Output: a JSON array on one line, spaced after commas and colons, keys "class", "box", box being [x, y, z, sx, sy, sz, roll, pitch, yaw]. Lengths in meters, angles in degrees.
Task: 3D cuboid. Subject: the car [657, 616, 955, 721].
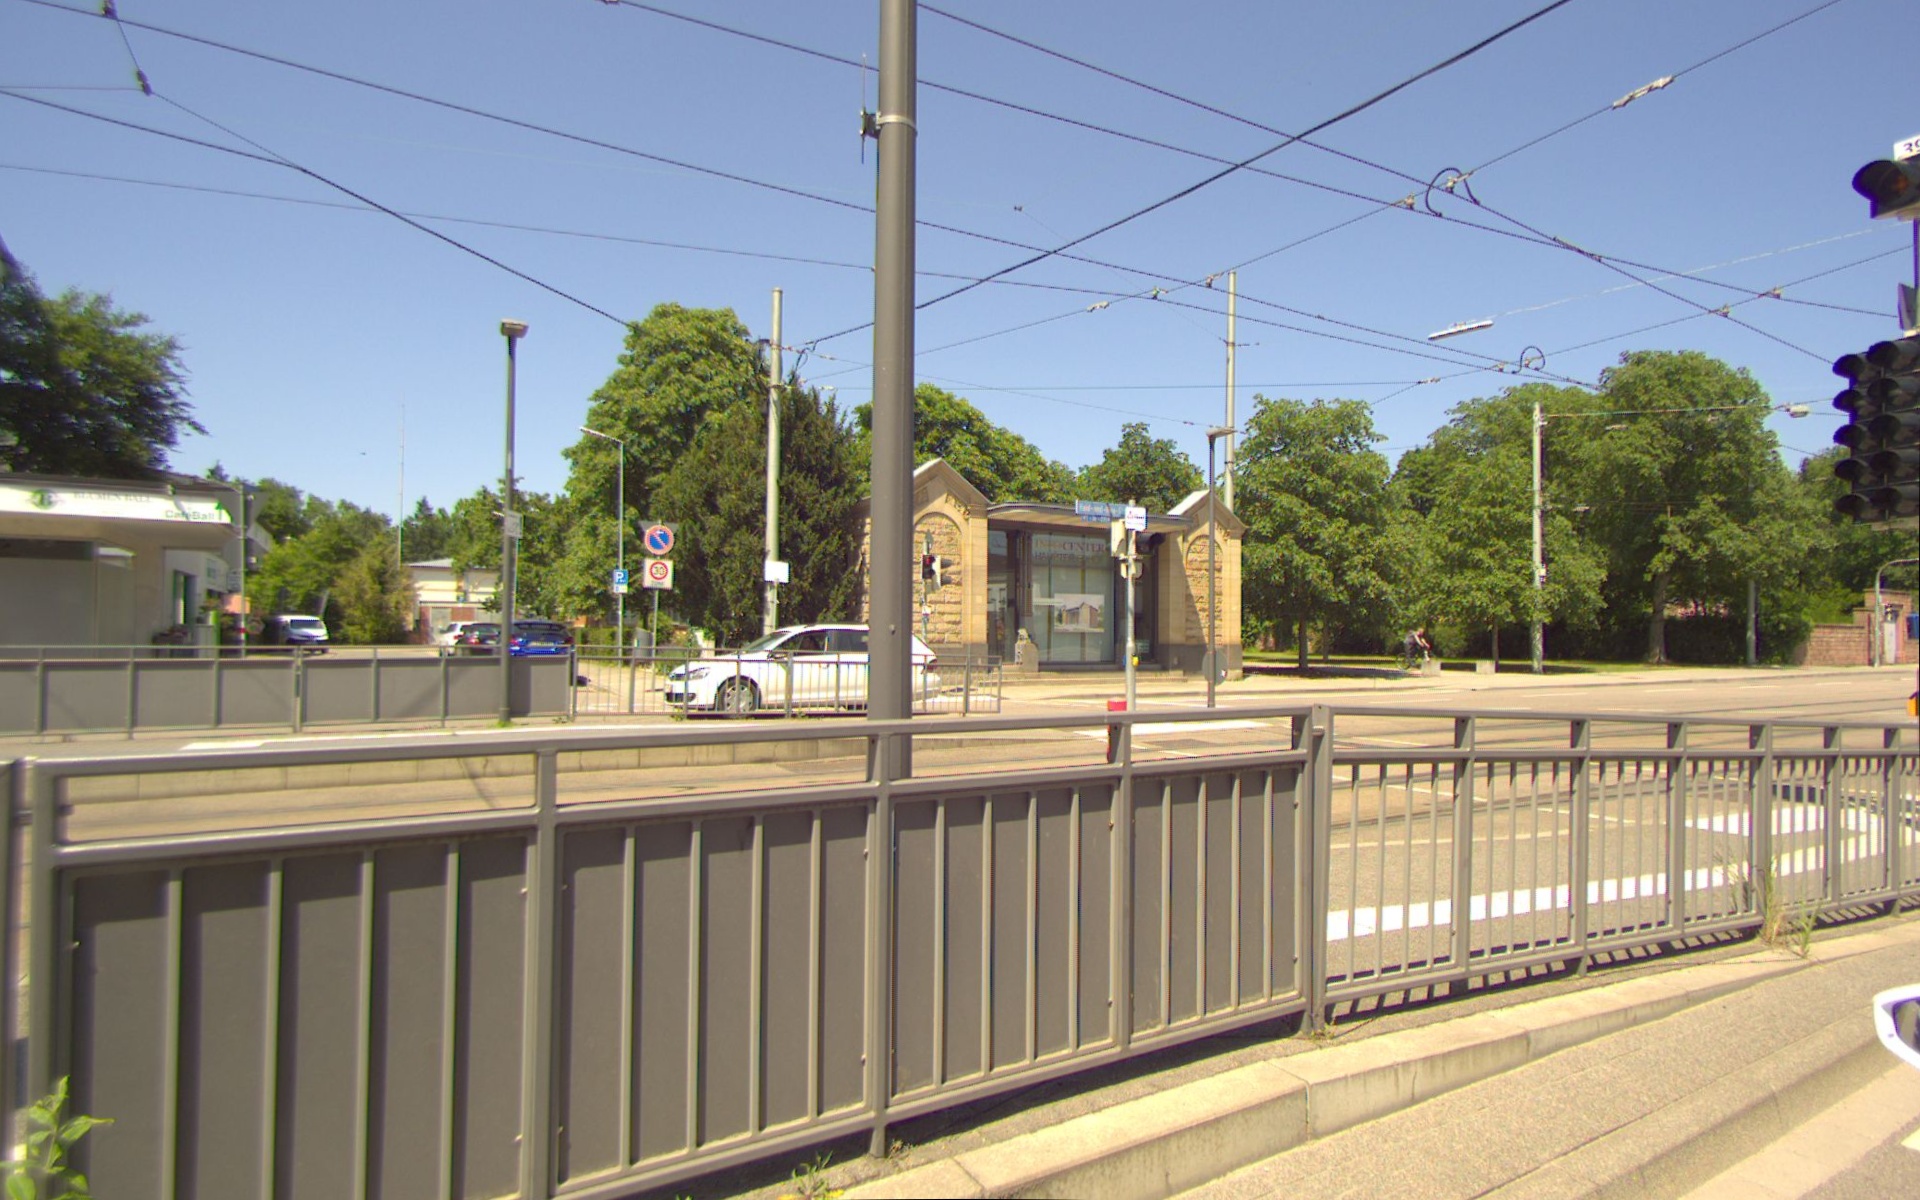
[{"class": "car", "box": [-2.456, 1.066, 16.337, 4.446, 1.509, 1.809, 2, -2, -30]}]

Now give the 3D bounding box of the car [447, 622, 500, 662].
[{"class": "car", "box": [-18.955, 1.641, 39.085, 1.625, 1.465, 3.784, 2, -3, -29]}]

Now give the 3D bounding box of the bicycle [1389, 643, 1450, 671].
[{"class": "bicycle", "box": [18.090, 2.224, 39.598, 2.074, 1.055, 0.713, -1, -2, 43]}]

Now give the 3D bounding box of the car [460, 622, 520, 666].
[{"class": "car", "box": [-15.843, 1.487, 33.779, 1.624, 1.388, 3.785, 1, -3, -28]}]

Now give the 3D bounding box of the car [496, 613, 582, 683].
[{"class": "car", "box": [-10.370, 1.111, 24.662, 1.799, 1.472, 3.934, 1, 0, -24]}]

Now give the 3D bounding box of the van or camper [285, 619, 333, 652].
[{"class": "van or camper", "box": [-32.235, 1.735, 49.714, 1.676, 1.587, 3.785, 2, -2, -38]}]

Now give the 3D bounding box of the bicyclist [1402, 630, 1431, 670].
[{"class": "bicyclist", "box": [18.019, 1.951, 39.665, 0.833, 1.551, 0.849, -1, -2, 42]}]
